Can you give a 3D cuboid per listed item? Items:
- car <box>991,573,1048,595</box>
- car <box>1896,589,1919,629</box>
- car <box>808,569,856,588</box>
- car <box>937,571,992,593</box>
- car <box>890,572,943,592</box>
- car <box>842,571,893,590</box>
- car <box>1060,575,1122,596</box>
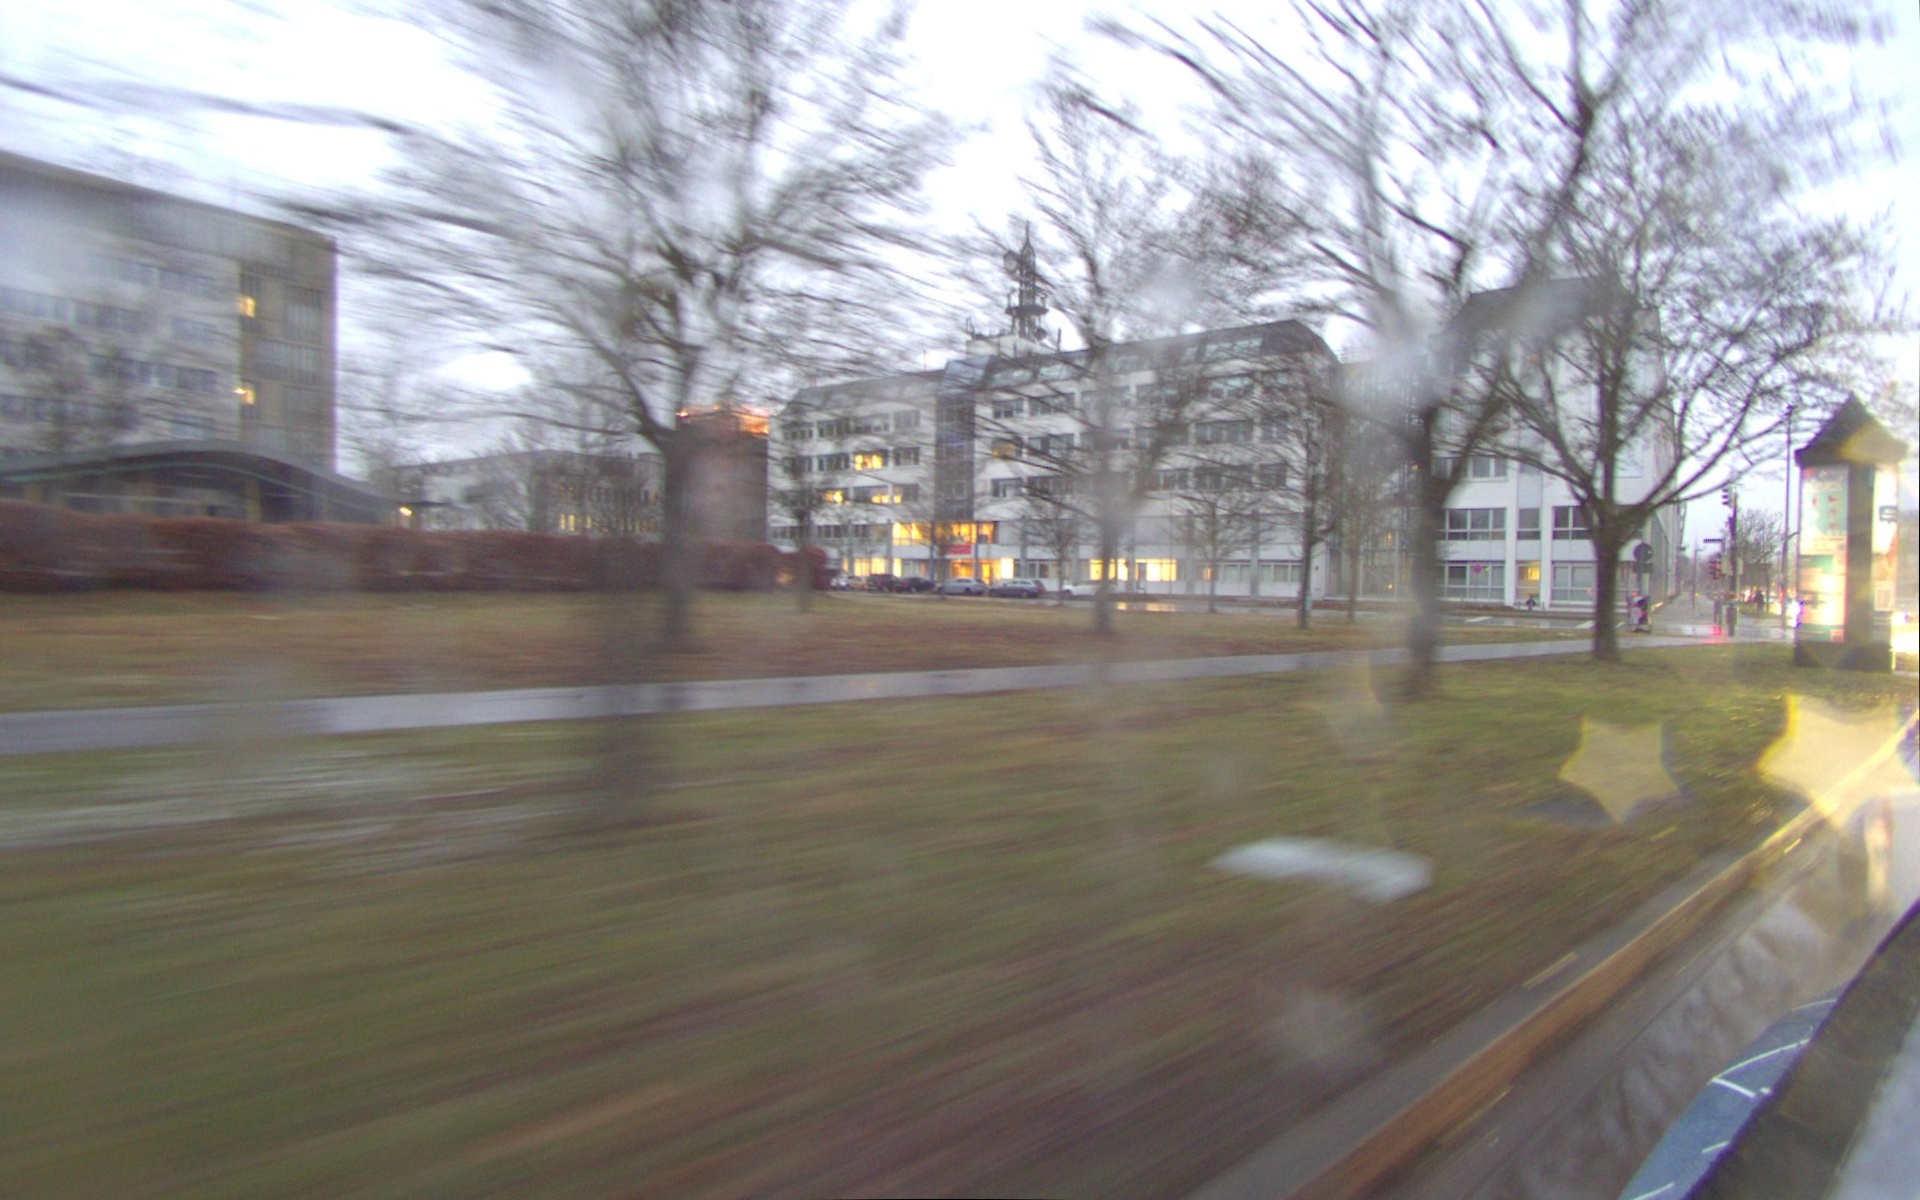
[{"bbox_3d":[4.669,-1.246,79.802,4.121,1.652,1.975,2,1,35],"label":"car"},{"bbox_3d":[39.239,0.345,40.900,1.943,1.575,4.153,0,0,42],"label":"car"},{"bbox_3d":[-11.590,-1.968,91.653,4.138,1.652,1.975,2,1,35],"label":"car"},{"bbox_3d":[0.329,-1.485,83.114,4.138,1.652,1.975,2,1,35],"label":"car"},{"bbox_3d":[-3.666,-1.522,85.751,4.138,1.652,1.975,2,1,35],"label":"car"},{"bbox_3d":[-8.145,-1.719,88.840,4.138,1.652,1.975,2,1,35],"label":"car"},{"bbox_3d":[9.615,-1.071,74.290,4.138,1.456,1.880,2,1,35],"label":"car"}]
